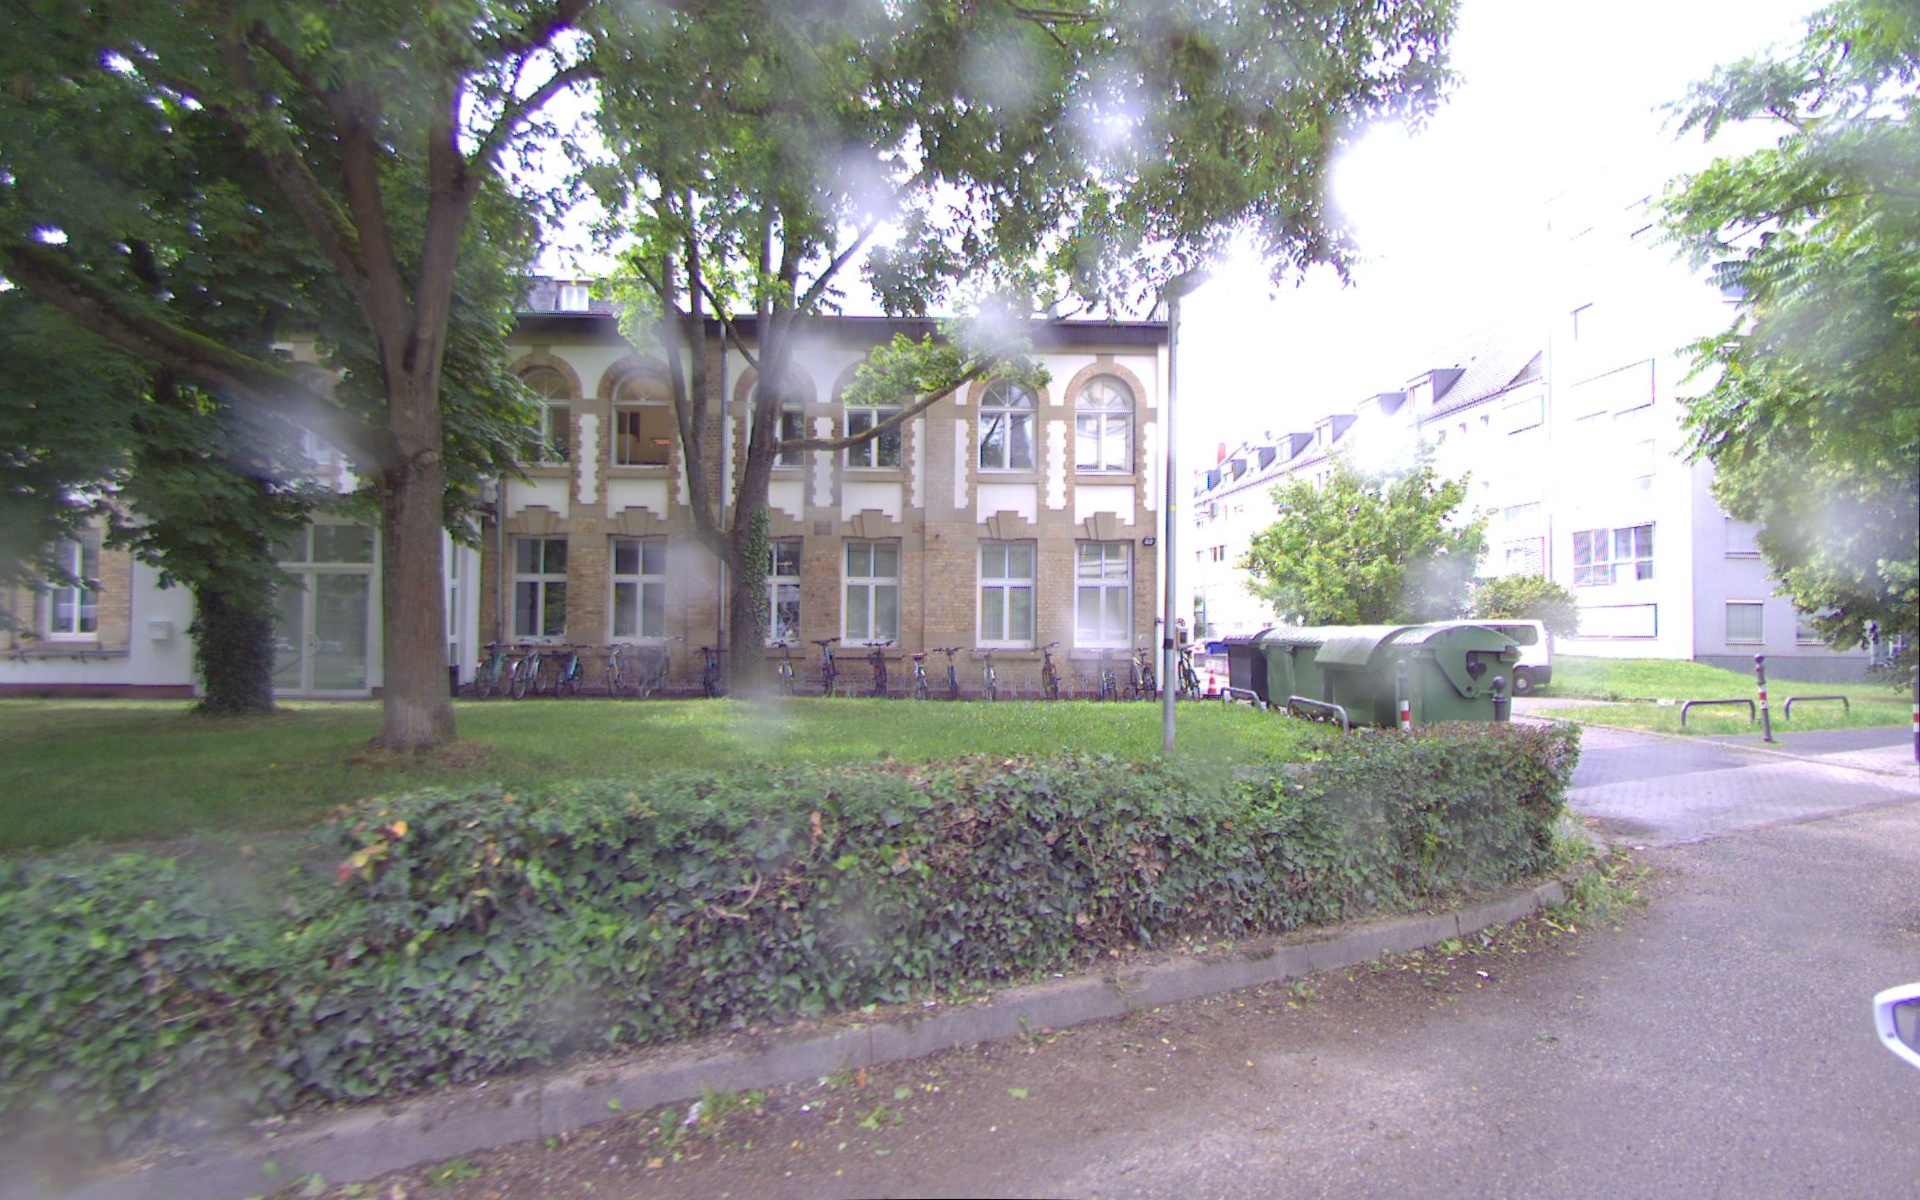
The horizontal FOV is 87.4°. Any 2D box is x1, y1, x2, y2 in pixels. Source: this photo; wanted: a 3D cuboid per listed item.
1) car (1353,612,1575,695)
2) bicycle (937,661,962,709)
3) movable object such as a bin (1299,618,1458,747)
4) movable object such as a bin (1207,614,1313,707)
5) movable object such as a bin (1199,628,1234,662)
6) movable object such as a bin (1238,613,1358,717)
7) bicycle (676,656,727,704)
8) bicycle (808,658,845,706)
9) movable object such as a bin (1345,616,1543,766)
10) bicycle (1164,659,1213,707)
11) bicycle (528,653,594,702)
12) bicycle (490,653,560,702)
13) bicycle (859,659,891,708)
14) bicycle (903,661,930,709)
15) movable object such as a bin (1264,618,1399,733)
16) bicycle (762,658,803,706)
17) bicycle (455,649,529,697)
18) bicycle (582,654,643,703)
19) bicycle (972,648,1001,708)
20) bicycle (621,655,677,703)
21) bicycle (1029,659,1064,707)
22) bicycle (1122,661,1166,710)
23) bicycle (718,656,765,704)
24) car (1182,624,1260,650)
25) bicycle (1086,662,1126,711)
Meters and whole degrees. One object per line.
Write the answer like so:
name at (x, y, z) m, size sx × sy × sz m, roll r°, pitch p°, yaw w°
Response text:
car at (13.230, 1.398, 26.601) m, size 4.854 × 2.040 × 2.001 m, roll 1°, pitch -2°, yaw 2°
bicycle at (-0.209, 1.632, 19.614) m, size 0.444 × 0.810 × 2.057 m, roll 2°, pitch -1°, yaw -1°
movable object such as a bin at (5.218, 0.996, 12.659) m, size 1.337 × 1.490 × 1.465 m, roll 2°, pitch -1°, yaw -2°
movable object such as a bin at (5.070, 1.005, 17.085) m, size 1.337 × 1.490 × 1.365 m, roll 2°, pitch -1°, yaw -2°
movable object such as a bin at (10.720, 1.868, 42.003) m, size 1.155 × 1.335 × 1.055 m, roll 2°, pitch -1°, yaw -2°
movable object such as a bin at (5.177, 0.970, 15.510) m, size 1.337 × 1.490 × 1.365 m, roll 2°, pitch -1°, yaw -2°
bicycle at (-4.984, 1.520, 19.449) m, size 0.444 × 0.810 × 2.057 m, roll 2°, pitch -1°, yaw -1°
bicycle at (-2.589, 1.578, 19.606) m, size 0.444 × 0.810 × 2.057 m, roll 2°, pitch -1°, yaw -1°
movable object such as a bin at (5.278, 0.956, 11.106) m, size 1.386 × 1.490 × 1.560 m, roll 2°, pitch -1°, yaw -2°
bicycle at (4.460, 1.614, 19.738) m, size 0.444 × 0.810 × 2.057 m, roll 2°, pitch -1°, yaw -1°
bicycle at (-7.651, 1.466, 19.358) m, size 0.444 × 0.810 × 2.057 m, roll 2°, pitch -1°, yaw -1°
bicycle at (-8.328, 1.462, 19.326) m, size 0.444 × 0.810 × 2.057 m, roll 2°, pitch -1°, yaw -1°
bicycle at (-1.637, 1.602, 19.601) m, size 0.444 × 0.810 × 2.057 m, roll 2°, pitch -1°, yaw -1°
bicycle at (-0.835, 1.631, 19.581) m, size 0.444 × 0.810 × 2.057 m, roll 2°, pitch -1°, yaw -1°
movable object such as a bin at (5.176, 1.028, 14.105) m, size 1.337 × 1.490 × 1.352 m, roll 2°, pitch -1°, yaw -2°
bicycle at (-3.429, 1.569, 19.525) m, size 0.444 × 0.810 × 2.057 m, roll 2°, pitch -1°, yaw -1°
bicycle at (-8.952, 1.375, 19.305) m, size 0.444 × 0.810 × 2.057 m, roll 2°, pitch -1°, yaw -1°
bicycle at (-6.677, 1.494, 19.382) m, size 0.444 × 0.810 × 2.057 m, roll 2°, pitch -1°, yaw -1°
bicycle at (0.507, 1.489, 19.652) m, size 0.444 × 1.051 × 2.057 m, roll 2°, pitch -1°, yaw -1°
bicycle at (-5.983, 1.501, 19.405) m, size 0.444 × 0.810 × 2.057 m, roll 2°, pitch -1°, yaw -1°
bicycle at (1.672, 1.598, 19.609) m, size 0.444 × 0.810 × 2.057 m, roll 2°, pitch -1°, yaw -1°
bicycle at (3.595, 1.659, 19.774) m, size 0.444 × 0.810 × 2.057 m, roll 2°, pitch -1°, yaw -1°
bicycle at (-4.210, 1.529, 19.472) m, size 0.444 × 0.810 × 2.057 m, roll 2°, pitch -1°, yaw -1°
car at (15.313, 2.189, 58.943) m, size 4.033 × 1.474 × 1.832 m, roll 0°, pitch -2°, yaw -6°
bicycle at (2.833, 1.674, 19.641) m, size 0.444 × 0.810 × 2.057 m, roll 2°, pitch -1°, yaw -1°
